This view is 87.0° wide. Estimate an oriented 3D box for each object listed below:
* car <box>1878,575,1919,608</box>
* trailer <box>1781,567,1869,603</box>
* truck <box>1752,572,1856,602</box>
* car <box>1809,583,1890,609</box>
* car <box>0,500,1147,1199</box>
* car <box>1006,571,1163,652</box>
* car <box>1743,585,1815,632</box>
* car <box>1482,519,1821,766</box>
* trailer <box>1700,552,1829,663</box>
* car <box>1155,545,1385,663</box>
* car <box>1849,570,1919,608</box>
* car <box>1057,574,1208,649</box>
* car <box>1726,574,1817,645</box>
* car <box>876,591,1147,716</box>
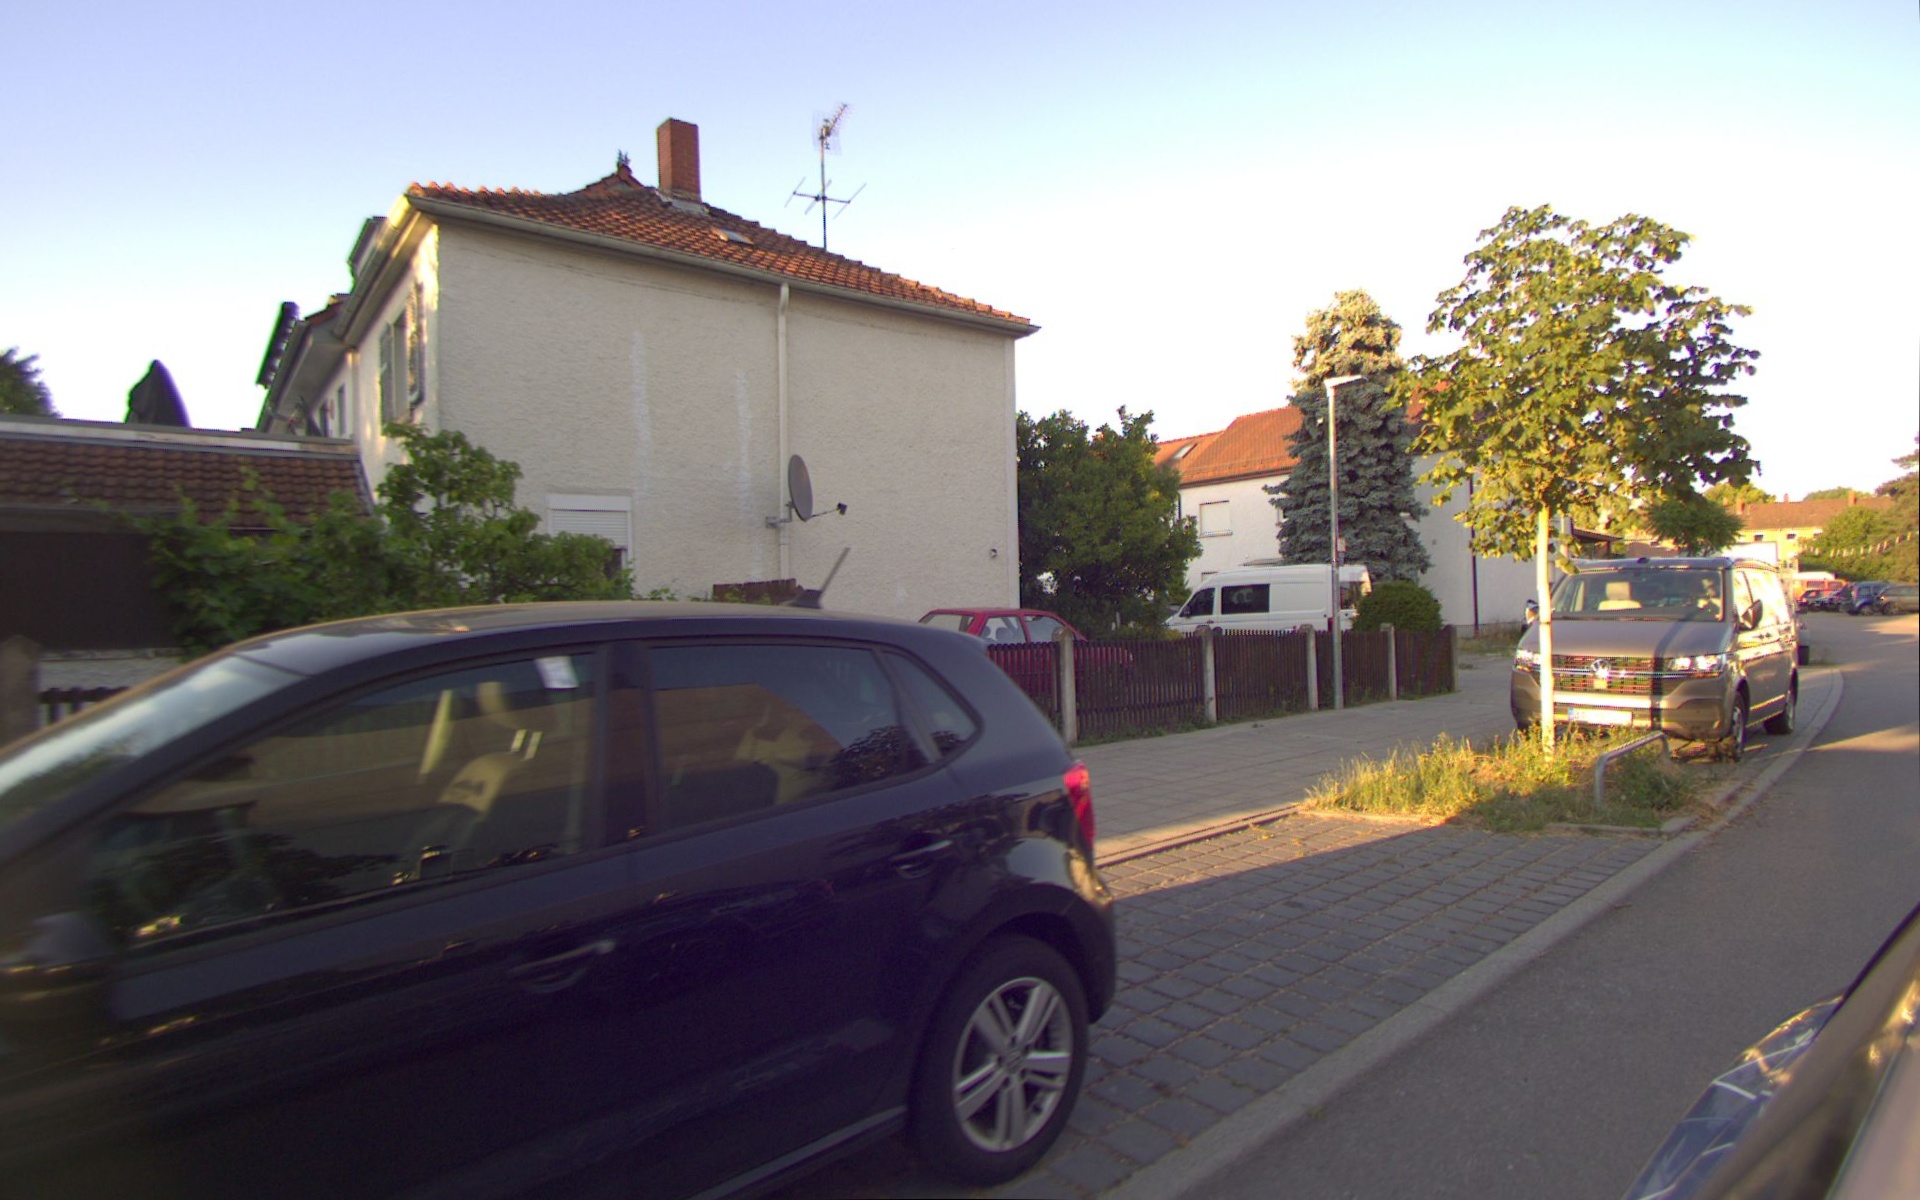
[{"bbox_3d":[51.121,-0.537,53.218,3.914,1.673,1.725,-4,-2,37],"label":"car"},{"bbox_3d":[65.927,-1.122,77.266,4.776,2.463,2.107,-4,0,36],"label":"trailer"},{"bbox_3d":[66.780,-0.992,80.222,5.983,2.069,2.329,-2,-1,32],"label":"truck"},{"bbox_3d":[61.154,-0.292,69.656,4.027,1.640,1.824,-2,-1,38],"label":"car"},{"bbox_3d":[-1.422,0.653,2.324,3.575,1.571,1.744,-1,0,-39],"label":"car"},{"bbox_3d":[4.117,0.445,34.594,2.015,2.547,5.577,1,-2,-37],"label":"car"},{"bbox_3d":[28.896,0.265,35.654,1.703,1.538,4.025,-1,0,43],"label":"car"},{"bbox_3d":[7.734,0.342,11.112,4.790,2.121,2.067,-1,0,-43],"label":"car"},{"bbox_3d":[18.304,0.131,23.029,2.061,2.239,5.148,-1,0,39],"label":"trailer"},{"bbox_3d":[7.872,0.179,26.286,2.015,2.728,5.577,1,-2,-37],"label":"car"},{"bbox_3d":[51.814,-0.624,55.652,3.891,1.936,1.735,-4,-2,22],"label":"car"},{"bbox_3d":[6.070,0.467,36.351,2.015,2.476,5.457,1,-2,-37],"label":"car"},{"bbox_3d":[22.763,0.230,28.338,1.769,1.854,4.342,-1,0,41],"label":"car"},{"bbox_3d":[0.765,0.633,13.746,3.575,1.462,1.531,-1,0,-39],"label":"car"}]
